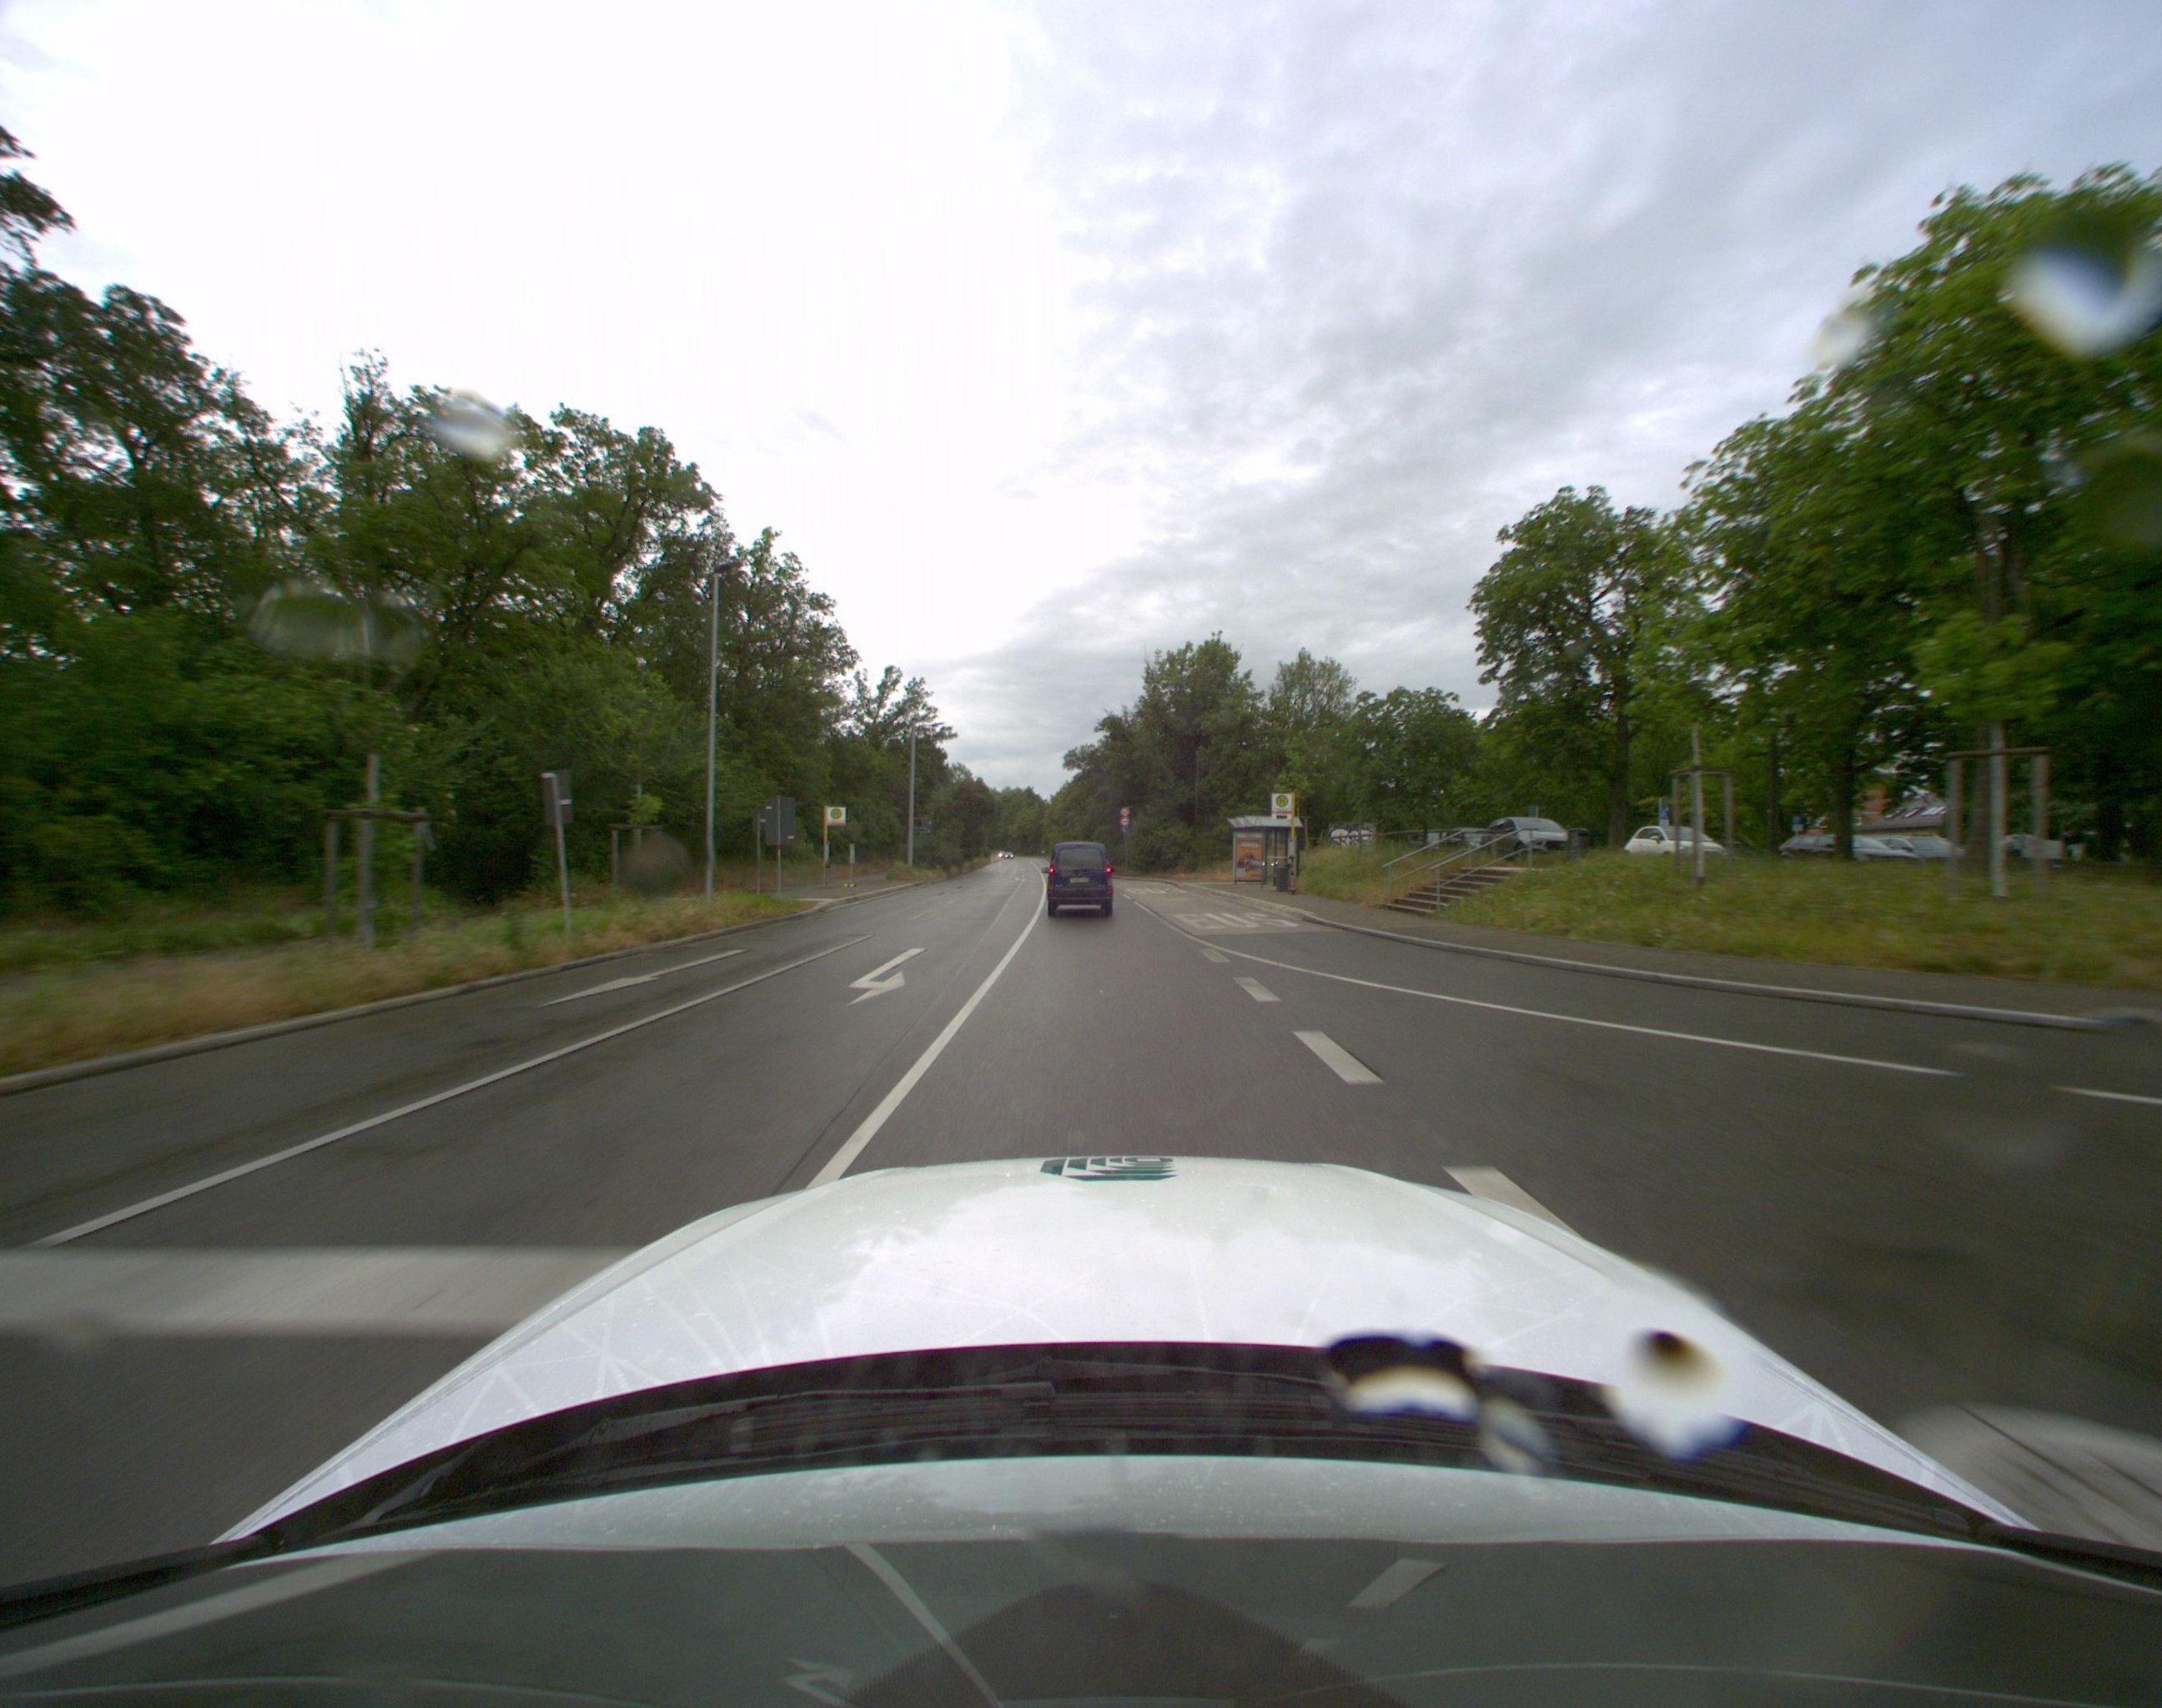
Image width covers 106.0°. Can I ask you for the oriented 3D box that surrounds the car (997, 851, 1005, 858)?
[{"bbox_3d":[-18.944,0.097,193.900,1.768,1.610,4.078,1,0,-4],"label":"car"}]

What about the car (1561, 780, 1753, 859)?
[{"bbox_3d":[14.264,-0.794,20.502,1.987,1.662,4.000,4,0,0],"label":"car"}]

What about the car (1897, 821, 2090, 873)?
[{"bbox_3d":[29.566,-0.175,26.602,1.877,1.480,4.072,3,-1,4],"label":"car"}]

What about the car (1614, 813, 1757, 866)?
[{"bbox_3d":[19.435,-0.405,26.441,1.876,1.480,4.074,3,-1,5],"label":"car"}]

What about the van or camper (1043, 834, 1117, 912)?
[{"bbox_3d":[-0.117,0.460,21.440,1.709,1.826,3.995,-1,0,-3],"label":"van or camper"}]

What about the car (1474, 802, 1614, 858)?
[{"bbox_3d":[14.408,-0.682,25.681,1.987,1.480,4.284,3,-1,1],"label":"car"}]

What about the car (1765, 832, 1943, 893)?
[{"bbox_3d":[24.408,0.246,25.947,1.985,1.662,4.005,4,0,4],"label":"car"}]

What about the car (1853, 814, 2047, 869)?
[{"bbox_3d":[26.955,-0.327,25.502,1.877,1.480,4.072,3,-1,4],"label":"car"}]

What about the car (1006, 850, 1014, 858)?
[{"bbox_3d":[-14.817,-0.002,170.503,1.596,1.441,3.984,-1,0,-5],"label":"car"}]

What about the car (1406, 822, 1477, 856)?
[{"bbox_3d":[18.469,-0.708,41.951,1.876,1.480,4.788,3,-1,5],"label":"car"}]

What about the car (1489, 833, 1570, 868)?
[{"bbox_3d":[21.248,-0.113,38.803,1.876,1.480,4.074,3,-1,5],"label":"car"}]

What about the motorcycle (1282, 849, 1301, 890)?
[{"bbox_3d":[6.901,0.491,26.777,0.584,1.289,1.543,0,0,14],"label":"motorcycle"}]
